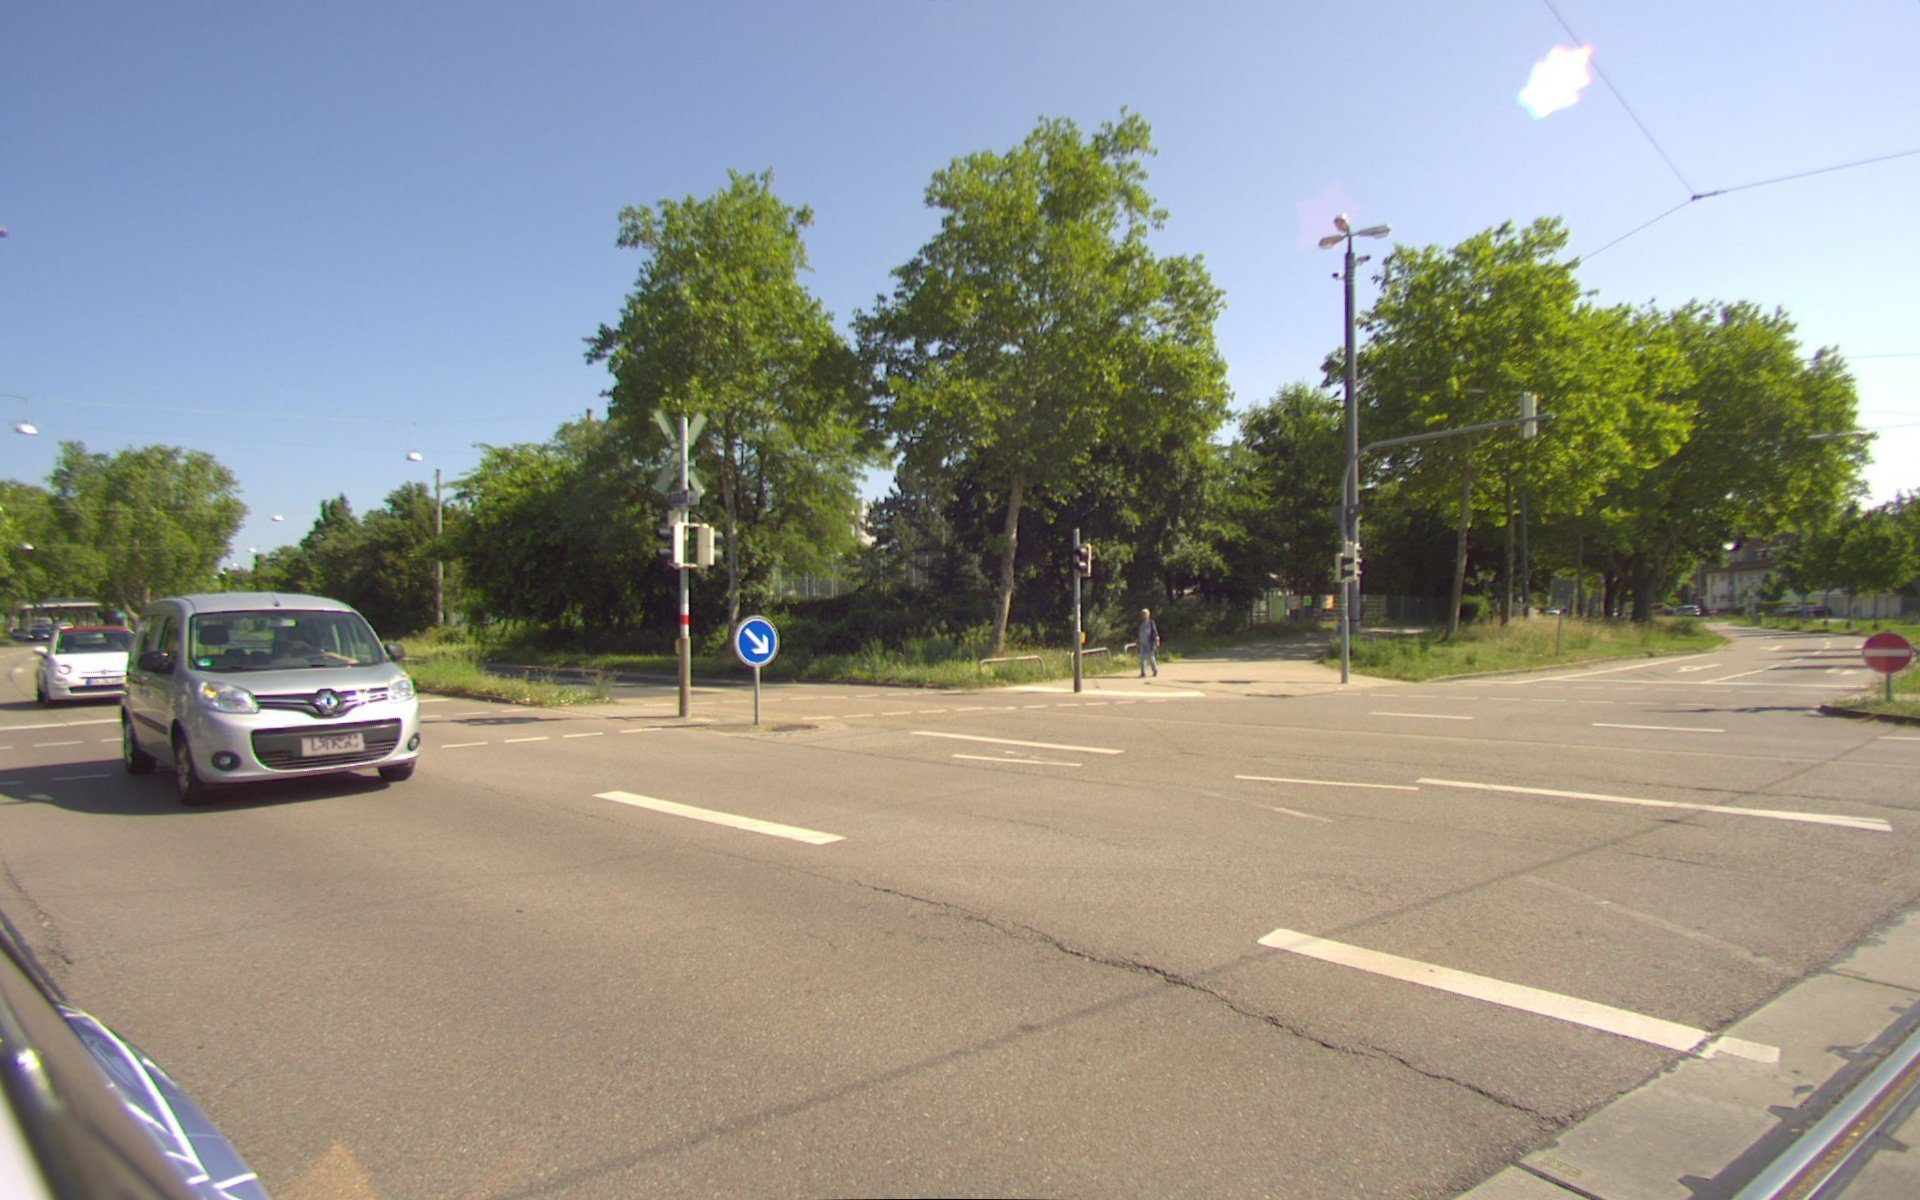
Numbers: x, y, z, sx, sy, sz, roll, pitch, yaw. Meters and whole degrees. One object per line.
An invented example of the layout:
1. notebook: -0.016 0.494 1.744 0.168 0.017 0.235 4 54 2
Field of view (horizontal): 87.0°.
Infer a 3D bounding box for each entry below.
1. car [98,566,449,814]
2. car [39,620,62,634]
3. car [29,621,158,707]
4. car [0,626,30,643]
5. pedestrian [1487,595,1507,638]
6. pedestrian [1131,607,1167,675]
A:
1. car: -6.743 0.745 9.749 4.375 1.854 1.852 -2 -2 43
2. car: -131.446 3.886 146.268 1.967 2.029 4.010 0 -2 -34
3. car: -17.328 1.206 20.165 1.665 1.502 4.378 0 -2 -45
4. car: -116.227 4.221 124.488 1.966 2.029 4.012 -1 -1 -30
5. pedestrian: 26.600 0.809 50.169 0.753 2.107 0.611 -2 -1 36
6. pedestrian: 4.348 0.937 23.304 0.568 1.546 0.600 -2 -1 37
